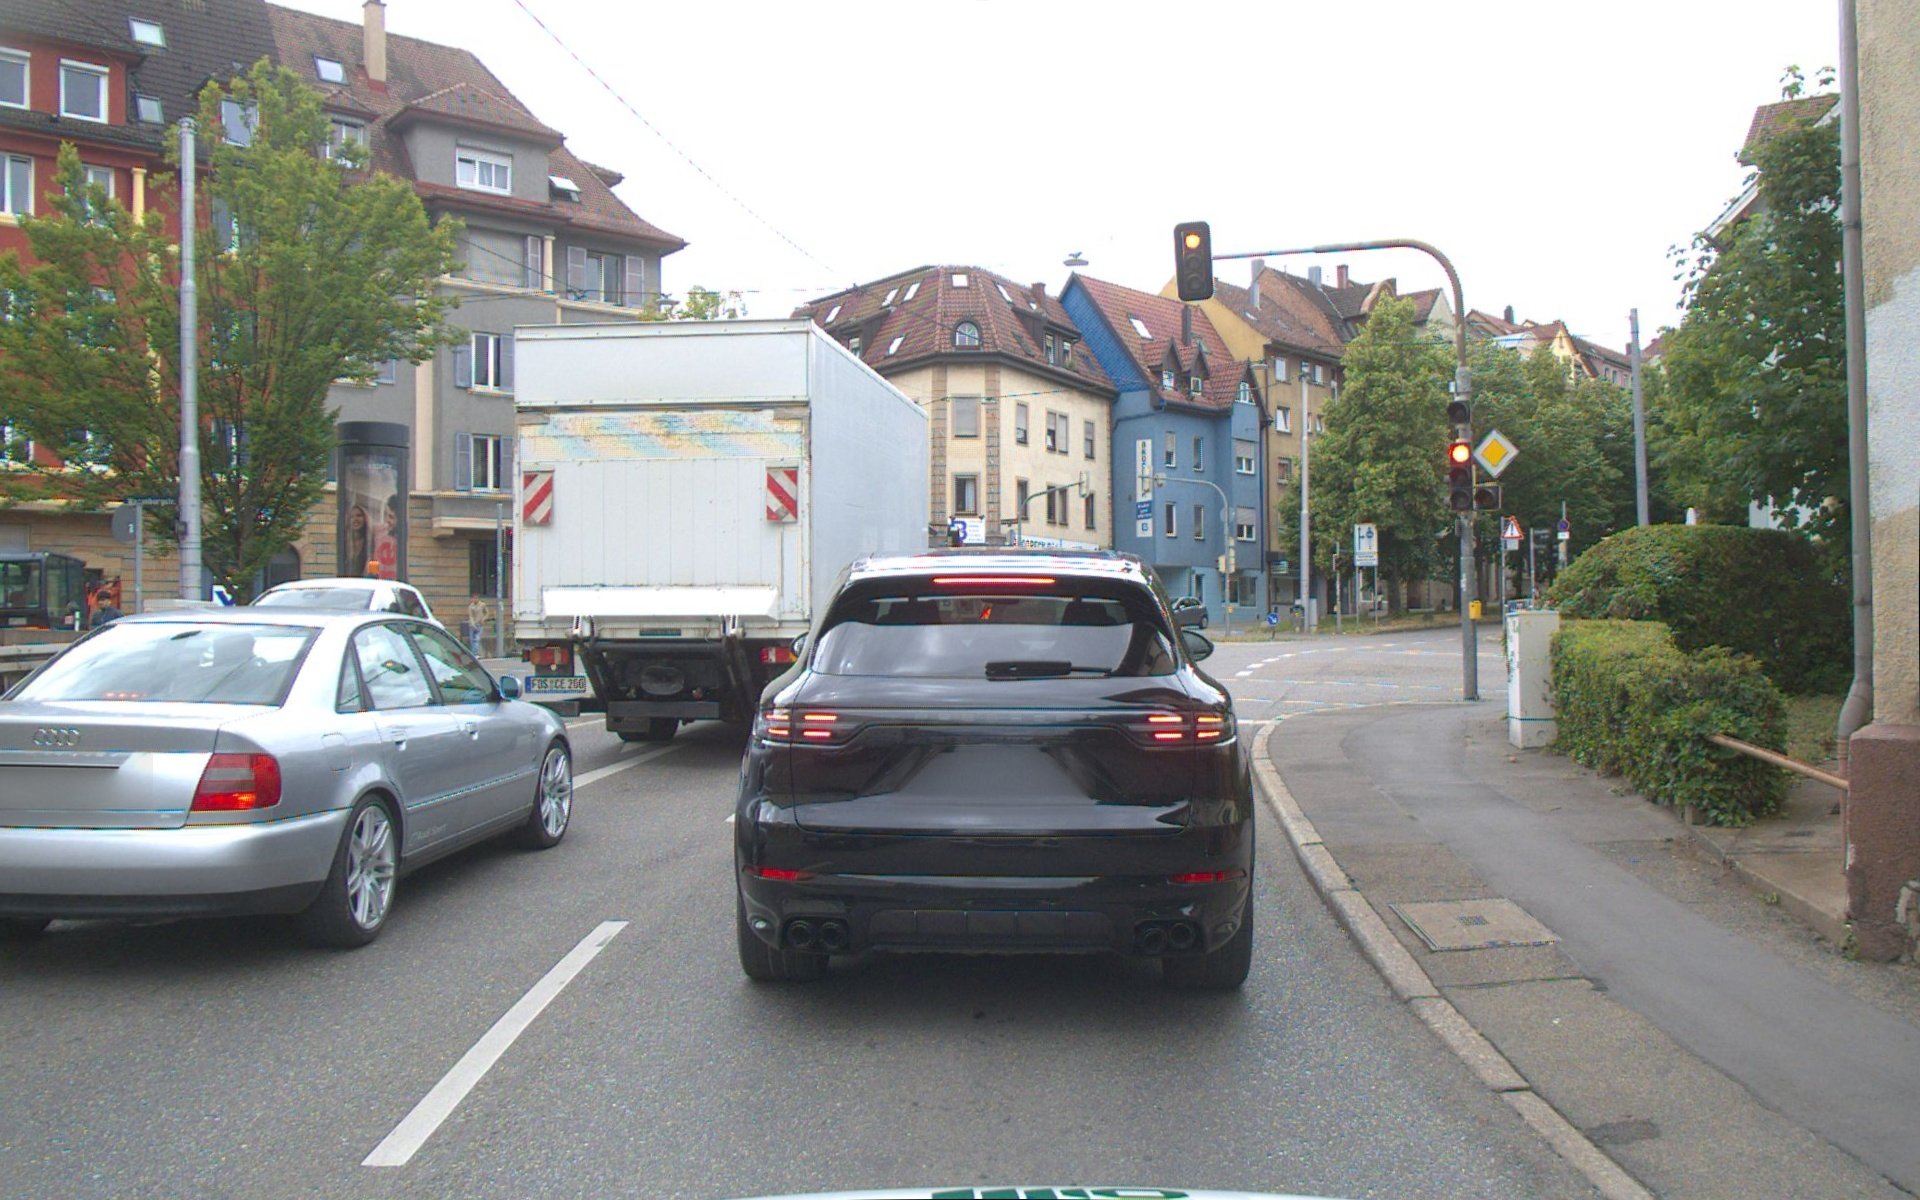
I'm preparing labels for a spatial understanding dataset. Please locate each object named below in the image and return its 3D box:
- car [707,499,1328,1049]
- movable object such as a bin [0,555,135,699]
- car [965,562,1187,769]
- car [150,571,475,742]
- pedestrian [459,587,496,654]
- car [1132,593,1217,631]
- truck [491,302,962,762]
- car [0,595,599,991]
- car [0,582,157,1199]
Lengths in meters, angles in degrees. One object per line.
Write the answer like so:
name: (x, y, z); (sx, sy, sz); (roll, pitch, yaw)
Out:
car: (0.159, 0.574, 7.616); (1.990, 1.753, 4.499); (1, 0, -1)
movable object such as a bin: (-13.947, 0.381, 25.477); (1.351, 2.049, 3.525); (-1, 0, -12)
car: (1.141, 0.516, 14.698); (1.613, 1.583, 3.586); (1, 0, 9)
car: (-6.663, 0.532, 17.526); (1.734, 1.548, 4.084); (-2, 0, 1)
pedestrian: (-11.011, 0.461, 37.751); (0.648, 1.513, 0.515); (-1, 0, -43)
car: (9.265, 0.549, 71.344); (1.690, 1.502, 4.197); (0, -2, 39)
truck: (-1.873, -0.541, 17.308); (2.667, 3.606, 8.428); (-1, 0, 8)
car: (-3.106, 0.691, 7.977); (1.594, 1.389, 4.130); (-1, 0, 3)
car: (-2.707, 0.718, 1.176); (1.953, 1.454, 4.841); (-1, 0, -1)
